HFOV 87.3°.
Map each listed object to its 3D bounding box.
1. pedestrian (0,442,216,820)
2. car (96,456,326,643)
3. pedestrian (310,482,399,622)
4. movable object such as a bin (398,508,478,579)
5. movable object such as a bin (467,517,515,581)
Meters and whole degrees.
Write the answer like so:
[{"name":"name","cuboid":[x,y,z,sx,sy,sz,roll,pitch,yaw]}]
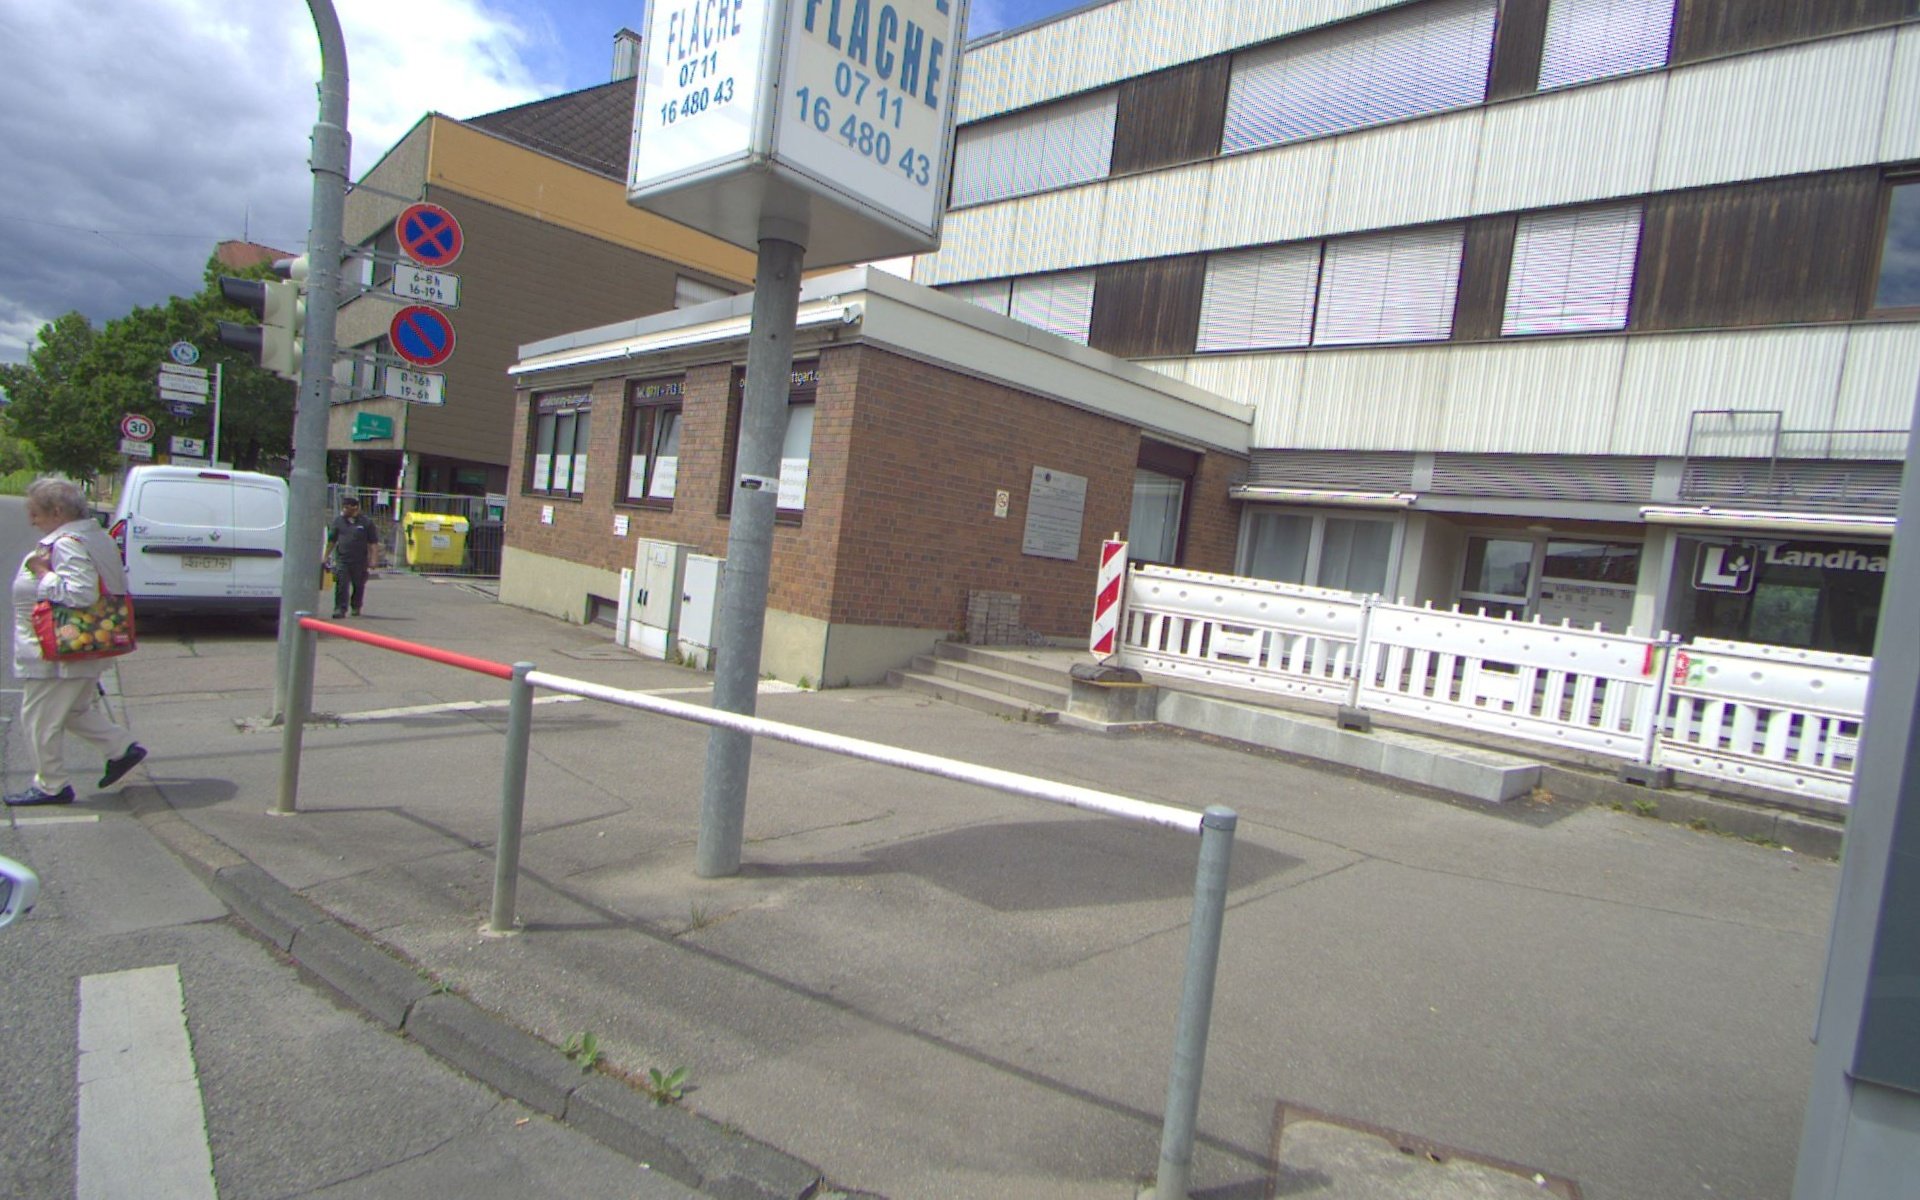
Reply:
[{"name":"pedestrian","cuboid":[-4.203,0.118,4.857,0.863,1.661,0.829,2,5,-30]},{"name":"car","cuboid":[-9.111,-0.656,12.070,1.900,1.820,4.438,1,5,-41]},{"name":"pedestrian","cuboid":[-8.361,-0.657,13.902,0.839,1.827,0.643,4,3,-42]},{"name":"movable object such as a bin","cuboid":[-12.797,-1.385,24.650,1.474,1.513,1.064,4,5,-39]},{"name":"movable object such as a bin","cuboid":[-11.770,-1.275,25.214,0.775,1.460,1.006,4,5,-39]}]
